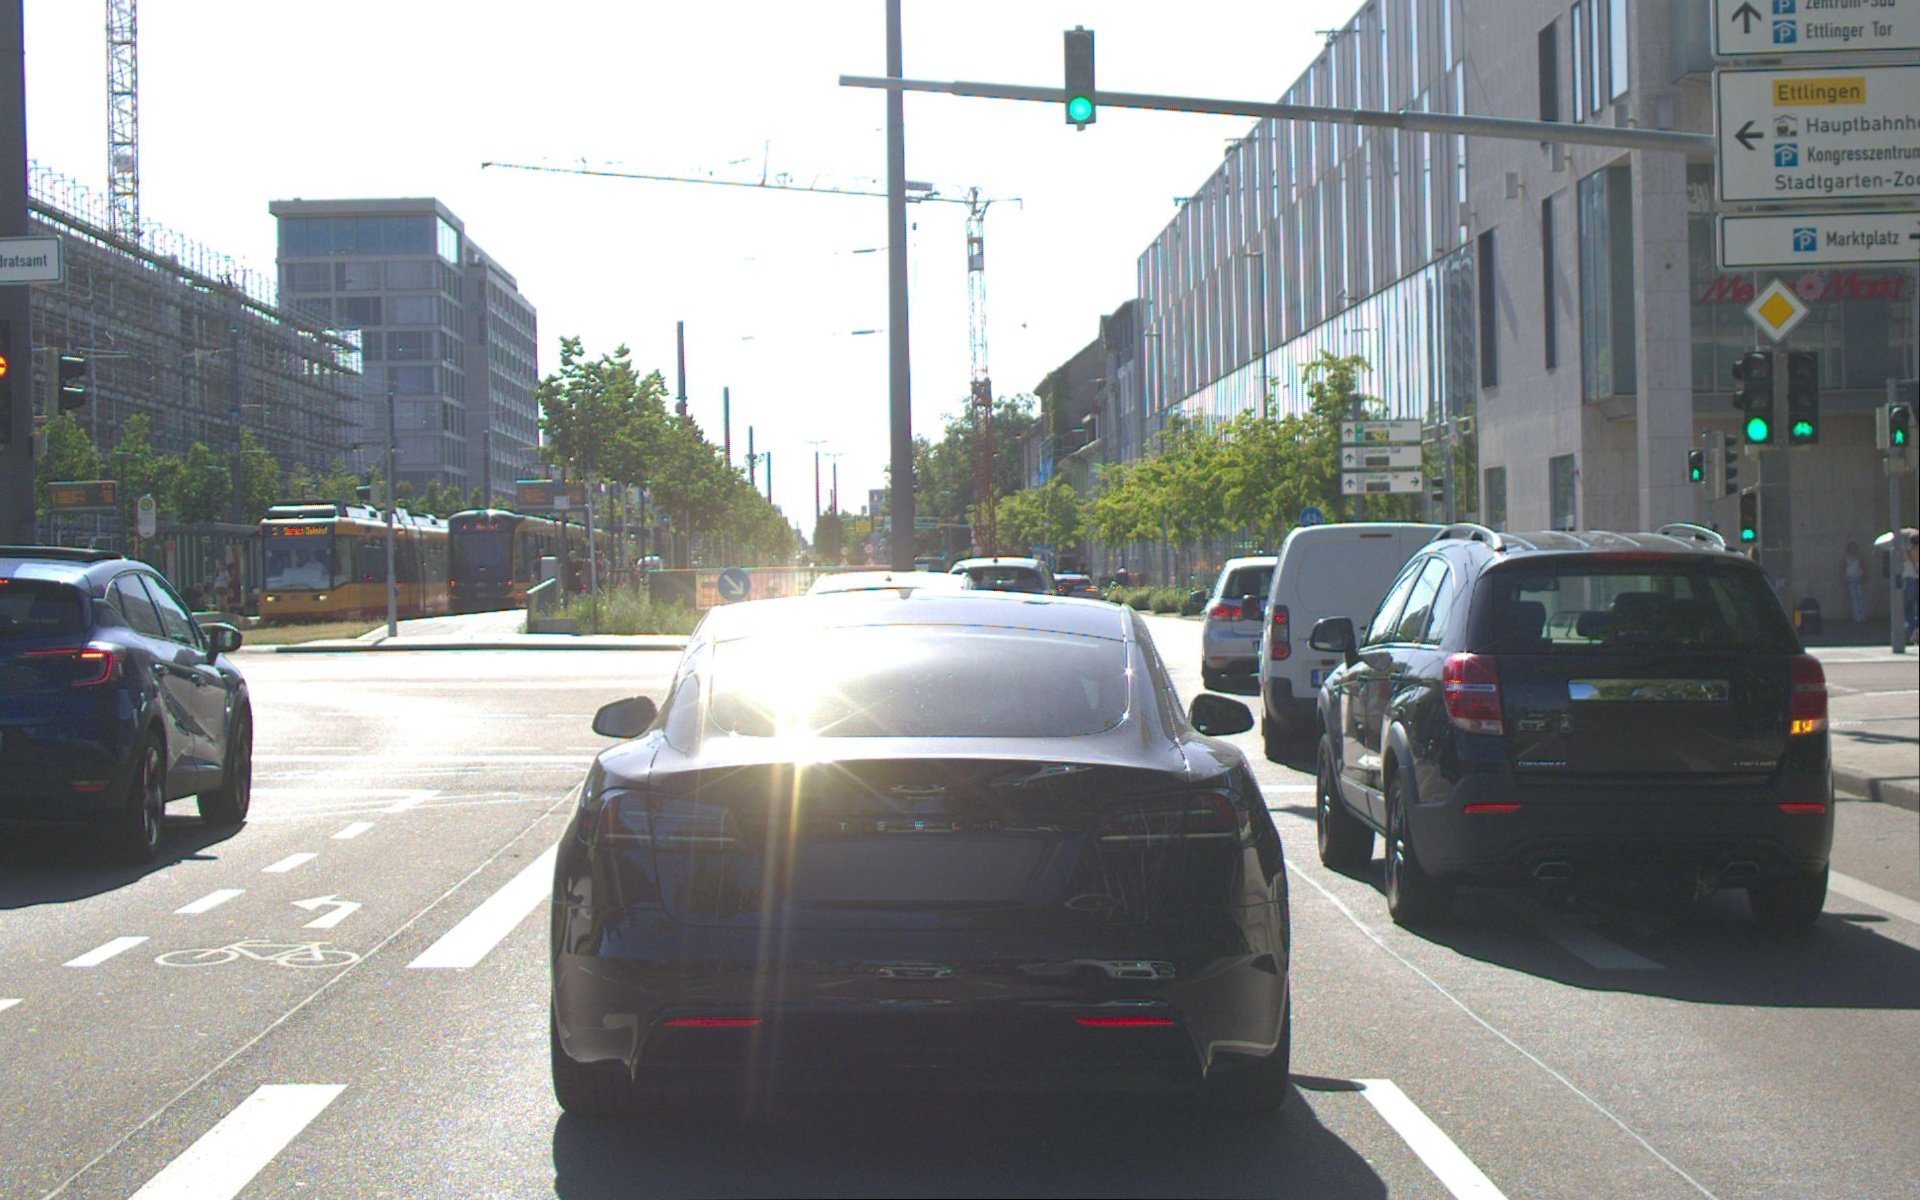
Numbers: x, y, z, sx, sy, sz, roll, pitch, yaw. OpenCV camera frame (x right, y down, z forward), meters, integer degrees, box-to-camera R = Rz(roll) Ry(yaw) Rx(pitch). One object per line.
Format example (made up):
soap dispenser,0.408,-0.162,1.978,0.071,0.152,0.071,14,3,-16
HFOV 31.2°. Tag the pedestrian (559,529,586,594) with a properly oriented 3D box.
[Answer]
pedestrian,-10.742,-1.076,95.340,0.703,1.769,0.959,1,1,-4

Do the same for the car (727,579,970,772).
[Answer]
car,-0.817,0.525,26.469,1.716,1.315,4.000,-1,1,-1

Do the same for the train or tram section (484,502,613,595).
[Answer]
train or tram section,-15.668,-1.941,132.633,2.870,3.268,22.145,1,1,-2

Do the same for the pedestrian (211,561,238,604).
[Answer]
pedestrian,-20.949,-0.492,97.912,0.671,1.222,0.506,1,0,-4

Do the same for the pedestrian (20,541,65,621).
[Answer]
pedestrian,-21.027,-0.435,78.795,0.800,1.817,0.976,-1,1,-4

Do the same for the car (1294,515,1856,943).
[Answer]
car,2.673,0.479,15.939,1.784,1.693,4.413,-1,1,0

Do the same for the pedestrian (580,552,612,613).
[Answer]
pedestrian,-9.778,-0.476,92.405,0.741,1.623,0.861,-1,0,0

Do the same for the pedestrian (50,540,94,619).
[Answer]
pedestrian,-20.900,-0.488,80.897,0.800,1.817,0.976,-1,1,-4

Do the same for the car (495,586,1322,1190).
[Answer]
car,-0.134,0.688,10.523,1.999,1.429,4.413,0,1,0

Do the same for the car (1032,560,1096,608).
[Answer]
car,3.444,-0.537,114.356,1.934,1.536,4.000,-1,1,-1

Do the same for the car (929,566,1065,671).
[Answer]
car,0.457,0.220,46.160,1.716,1.315,4.000,-1,1,-1

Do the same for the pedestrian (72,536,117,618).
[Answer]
pedestrian,-19.614,-0.523,77.926,0.800,1.817,0.976,-1,1,-4

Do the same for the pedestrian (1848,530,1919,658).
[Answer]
pedestrian,13.576,-0.098,49.696,0.967,1.795,1.523,-3,1,-1

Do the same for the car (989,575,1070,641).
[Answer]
car,1.558,0.161,78.685,1.716,1.427,4.000,0,1,-1

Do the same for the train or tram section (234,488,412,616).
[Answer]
train or tram section,-17.744,-1.331,96.622,2.870,3.298,13.074,1,1,-2

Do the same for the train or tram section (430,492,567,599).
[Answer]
train or tram section,-15.157,-1.764,113.995,2.870,3.268,15.186,1,1,-2

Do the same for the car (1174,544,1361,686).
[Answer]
car,3.503,0.131,39.782,1.784,1.540,4.039,-1,1,0

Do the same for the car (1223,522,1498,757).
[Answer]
car,3.135,0.262,27.624,1.784,1.728,4.163,0,1,1

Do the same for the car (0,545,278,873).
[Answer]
car,-4.974,0.500,18.731,1.770,1.583,4.088,1,1,-1

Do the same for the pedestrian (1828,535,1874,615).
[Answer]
pedestrian,18.116,-0.515,69.901,0.747,1.602,0.557,-1,1,-2

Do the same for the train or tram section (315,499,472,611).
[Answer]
train or tram section,-18.133,-1.365,111.155,2.847,3.310,15.967,1,0,-2

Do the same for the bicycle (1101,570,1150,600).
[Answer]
bicycle,6.939,-0.622,144.052,1.881,1.147,0.672,-3,0,-11
